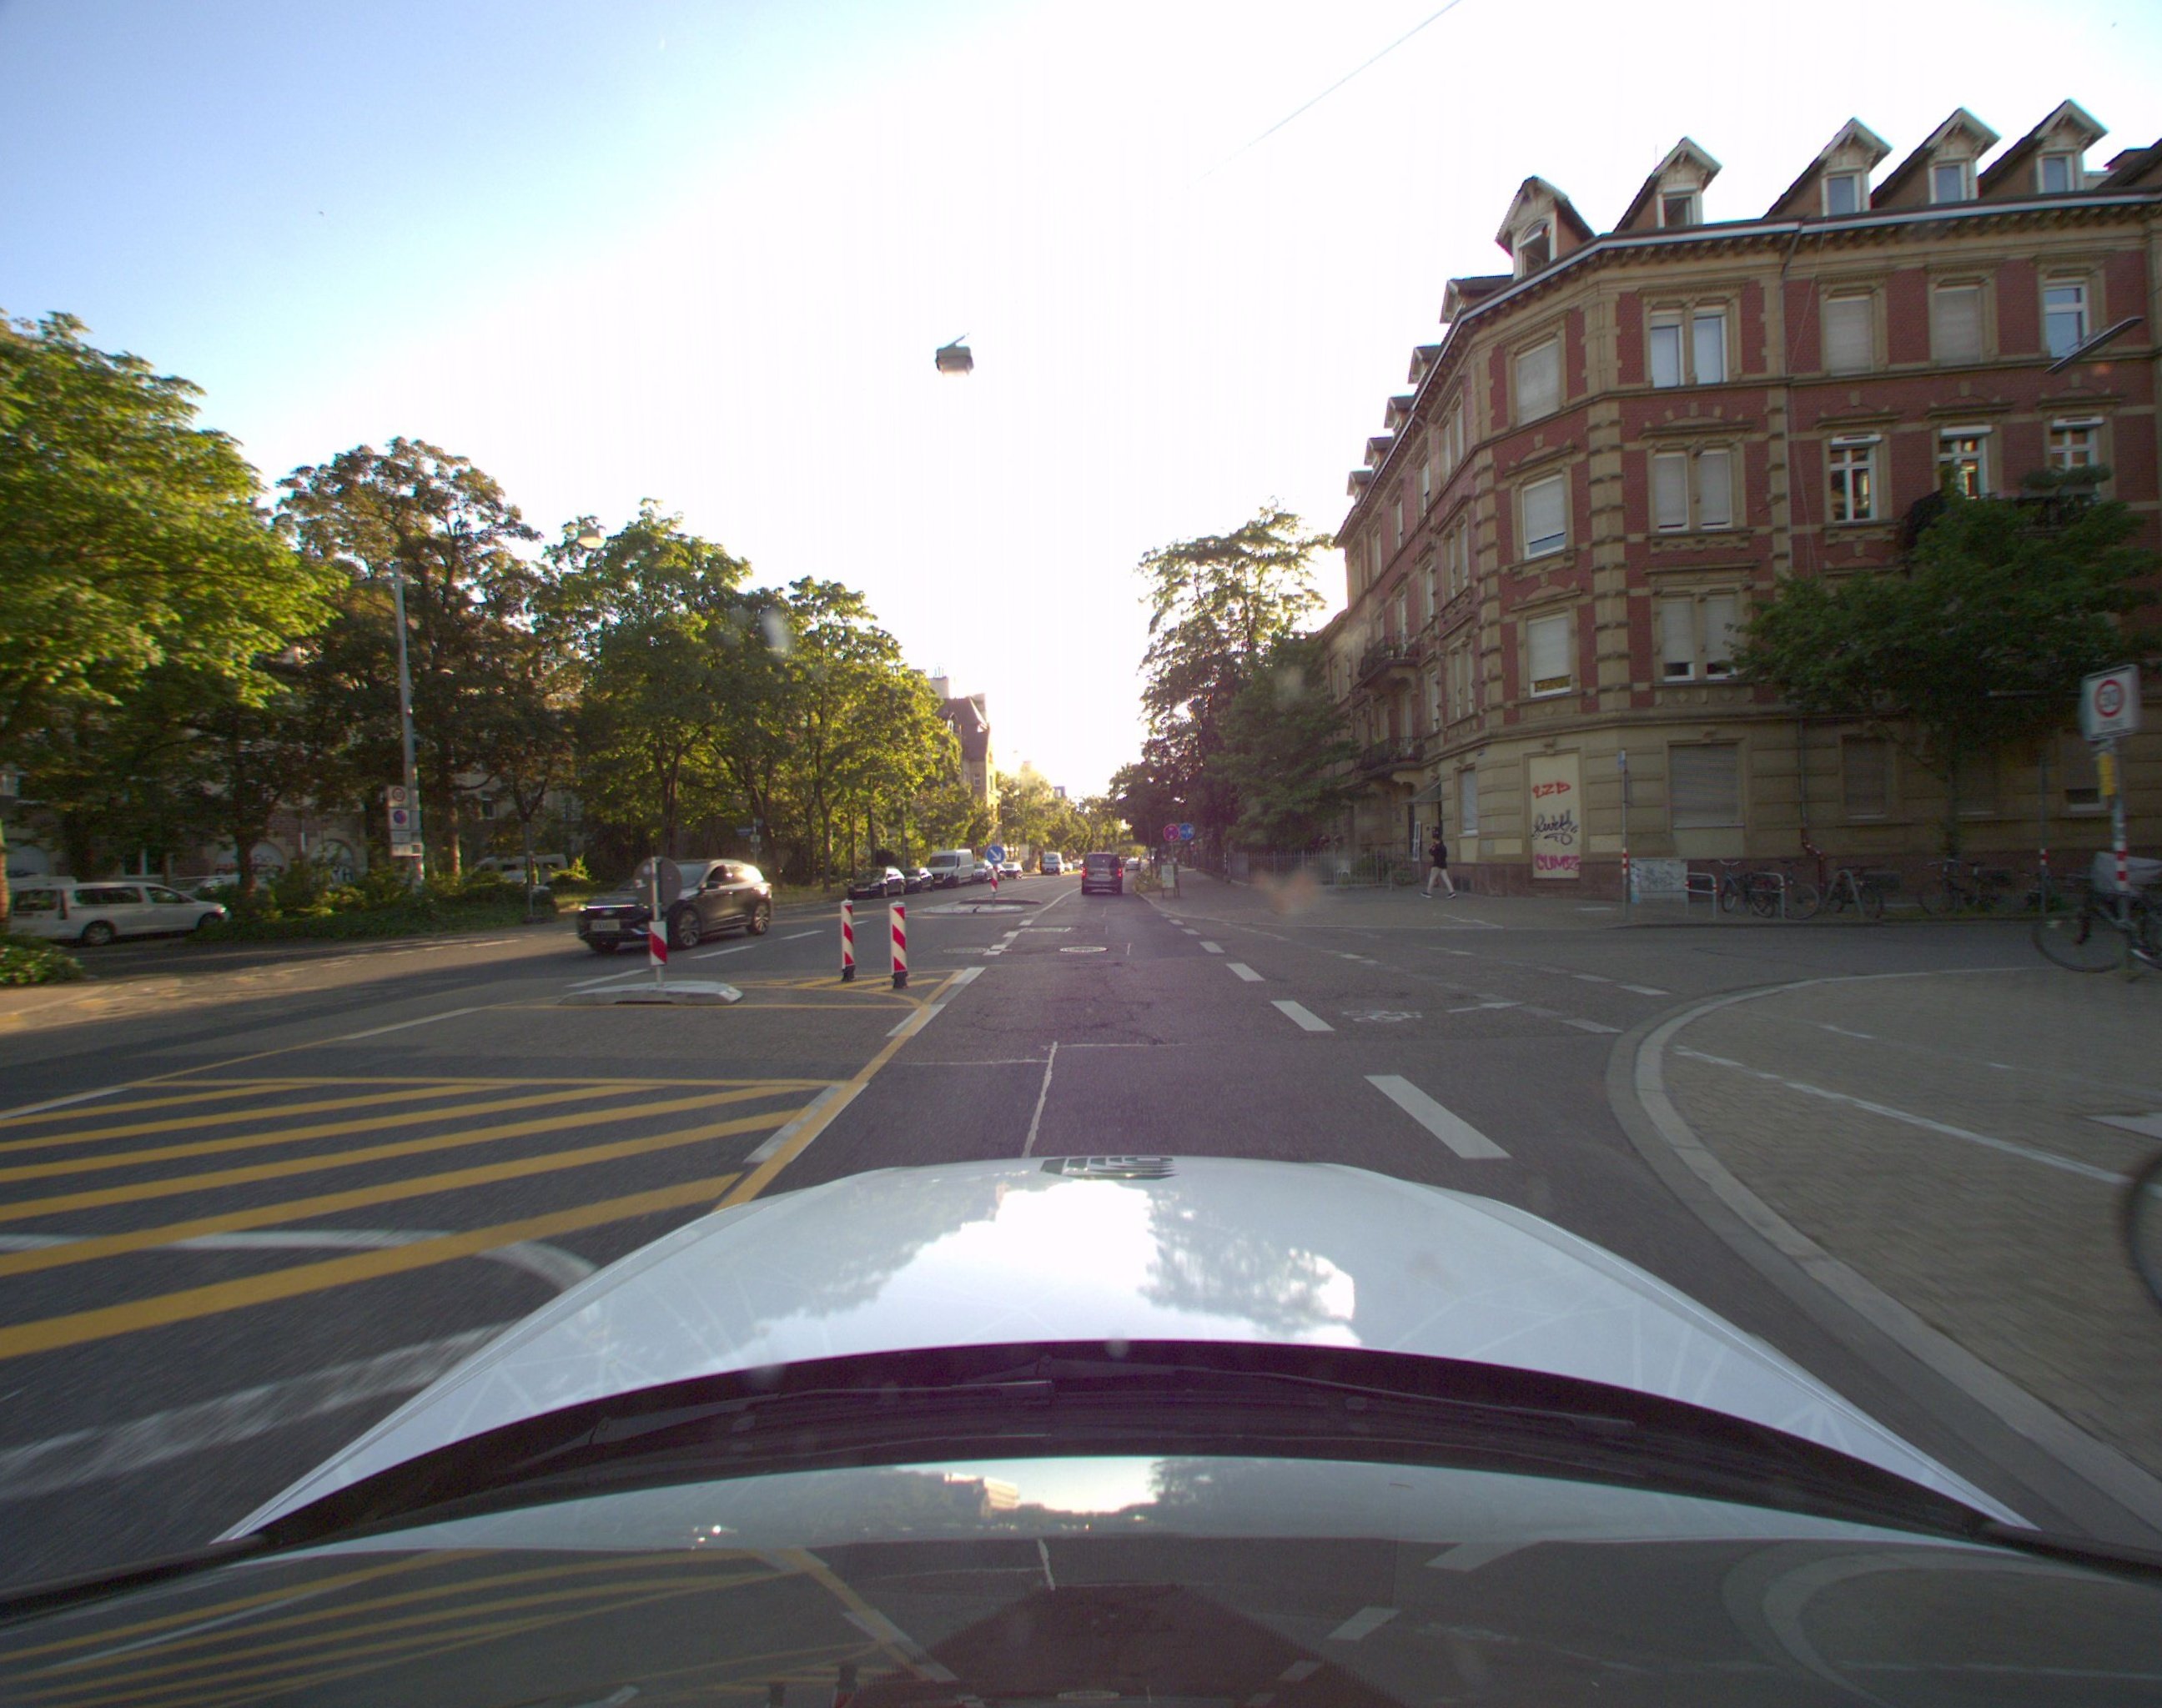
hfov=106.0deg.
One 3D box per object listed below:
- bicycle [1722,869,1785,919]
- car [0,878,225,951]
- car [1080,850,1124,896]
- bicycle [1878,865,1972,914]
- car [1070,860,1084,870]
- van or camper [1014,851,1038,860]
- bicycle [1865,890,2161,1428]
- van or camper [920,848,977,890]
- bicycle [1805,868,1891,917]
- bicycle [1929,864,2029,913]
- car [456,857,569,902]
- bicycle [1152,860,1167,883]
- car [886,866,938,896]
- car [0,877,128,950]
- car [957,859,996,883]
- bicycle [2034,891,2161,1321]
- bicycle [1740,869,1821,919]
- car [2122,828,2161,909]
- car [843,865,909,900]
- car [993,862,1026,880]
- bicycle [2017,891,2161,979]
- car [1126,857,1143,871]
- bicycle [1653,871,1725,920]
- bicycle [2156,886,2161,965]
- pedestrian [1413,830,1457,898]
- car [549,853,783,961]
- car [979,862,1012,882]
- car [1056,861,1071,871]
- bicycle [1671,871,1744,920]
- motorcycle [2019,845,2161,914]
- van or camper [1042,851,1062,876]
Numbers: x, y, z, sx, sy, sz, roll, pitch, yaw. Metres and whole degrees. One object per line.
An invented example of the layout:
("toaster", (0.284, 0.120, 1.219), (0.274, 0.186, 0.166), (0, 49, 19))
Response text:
("bicycle", (13.019, 0.752, 15.809), (0.292, 0.817, 1.503), (1, 3, 13))
("car", (-28.542, 1.698, 24.164), (1.986, 1.882, 4.001), (0, 0, 1))
("car", (0.976, 0.844, 37.925), (1.880, 1.925, 3.840), (-2, 0, 2))
("bicycle", (16.421, 0.676, 15.885), (0.293, 0.817, 1.498), (0, 3, 2))
("car", (-0.555, 1.628, 122.213), (1.689, 1.451, 4.005), (0, 0, 5))
("van or camper", (-15.220, 0.404, 225.755), (6.534, 2.522, 2.452), (0, 0, 3))
("bicycle", (2.937, 0.761, 1.564), (0.563, 1.299, 2.265), (-6, -2, 1))
("van or camper", (-8.546, 0.939, 53.036), (2.081, 2.468, 6.313), (-3, 0, 5))
("bicycle", (15.003, 0.739, 15.968), (0.293, 0.817, 1.498), (0, 3, 2))
("bicycle", (17.417, 0.646, 15.833), (0.293, 0.817, 1.498), (0, 3, 2))
("car", (-34.895, 1.513, 50.142), (2.244, 2.485, 5.267), (-2, 0, 39))
("bicycle", (4.181, 0.929, 43.454), (0.644, 1.167, 1.931), (0, 0, 2))
("car", (-9.330, 1.457, 45.255), (1.621, 1.429, 4.248), (-3, 0, 5))
("car", (-34.683, 1.898, 26.355), (1.986, 2.189, 4.744), (0, 0, 2))
("car", (-7.678, 1.253, 60.480), (1.857, 1.645, 4.577), (-3, 0, 5))
("bicycle", (3.506, 0.739, 1.569), (0.563, 1.275, 2.265), (-6, -2, 1))
("bicycle", (13.493, 0.747, 15.743), (0.293, 0.817, 1.498), (0, 3, 2))
("car", (22.449, 0.251, 14.919), (3.968, 1.507, 2.003), (-2, 3, 5))
("car", (-9.885, 1.363, 39.666), (1.615, 1.506, 4.551), (-2, 0, 6))
("car", (-6.312, 1.472, 72.429), (1.984, 1.483, 4.836), (-2, 0, 5))
("bicycle", (10.354, 0.779, 8.127), (0.292, 0.817, 1.739), (0, -2, 10))
("car", (6.474, 1.172, 98.872), (1.985, 1.634, 4.004), (-2, 0, 4))
("bicycle", (11.824, 0.788, 15.880), (0.290, 0.817, 1.498), (0, 3, 2))
("bicycle", (11.294, 0.716, 7.766), (0.292, 0.817, 1.501), (0, -2, 10))
("pedestrian", (9.736, 0.270, 22.429), (0.743, 1.778, 0.832), (-5, -1, 1))
("car", (-7.925, 0.925, 16.166), (1.867, 1.706, 4.574), (-4, -1, 5))
("car", (-6.917, 1.421, 66.049), (1.728, 1.445, 4.631), (-2, 0, 5))
("car", (-2.320, 1.602, 107.612), (1.529, 1.248, 3.618), (0, 0, 5))
("bicycle", (12.188, 0.789, 15.896), (0.290, 0.817, 1.498), (0, 3, 2))
("motorcycle", (19.254, 0.445, 15.468), (0.876, 1.122, 2.220), (1, 3, 20))
("van or camper", (-3.272, 1.071, 92.929), (1.986, 2.669, 6.040), (0, 0, 1))
